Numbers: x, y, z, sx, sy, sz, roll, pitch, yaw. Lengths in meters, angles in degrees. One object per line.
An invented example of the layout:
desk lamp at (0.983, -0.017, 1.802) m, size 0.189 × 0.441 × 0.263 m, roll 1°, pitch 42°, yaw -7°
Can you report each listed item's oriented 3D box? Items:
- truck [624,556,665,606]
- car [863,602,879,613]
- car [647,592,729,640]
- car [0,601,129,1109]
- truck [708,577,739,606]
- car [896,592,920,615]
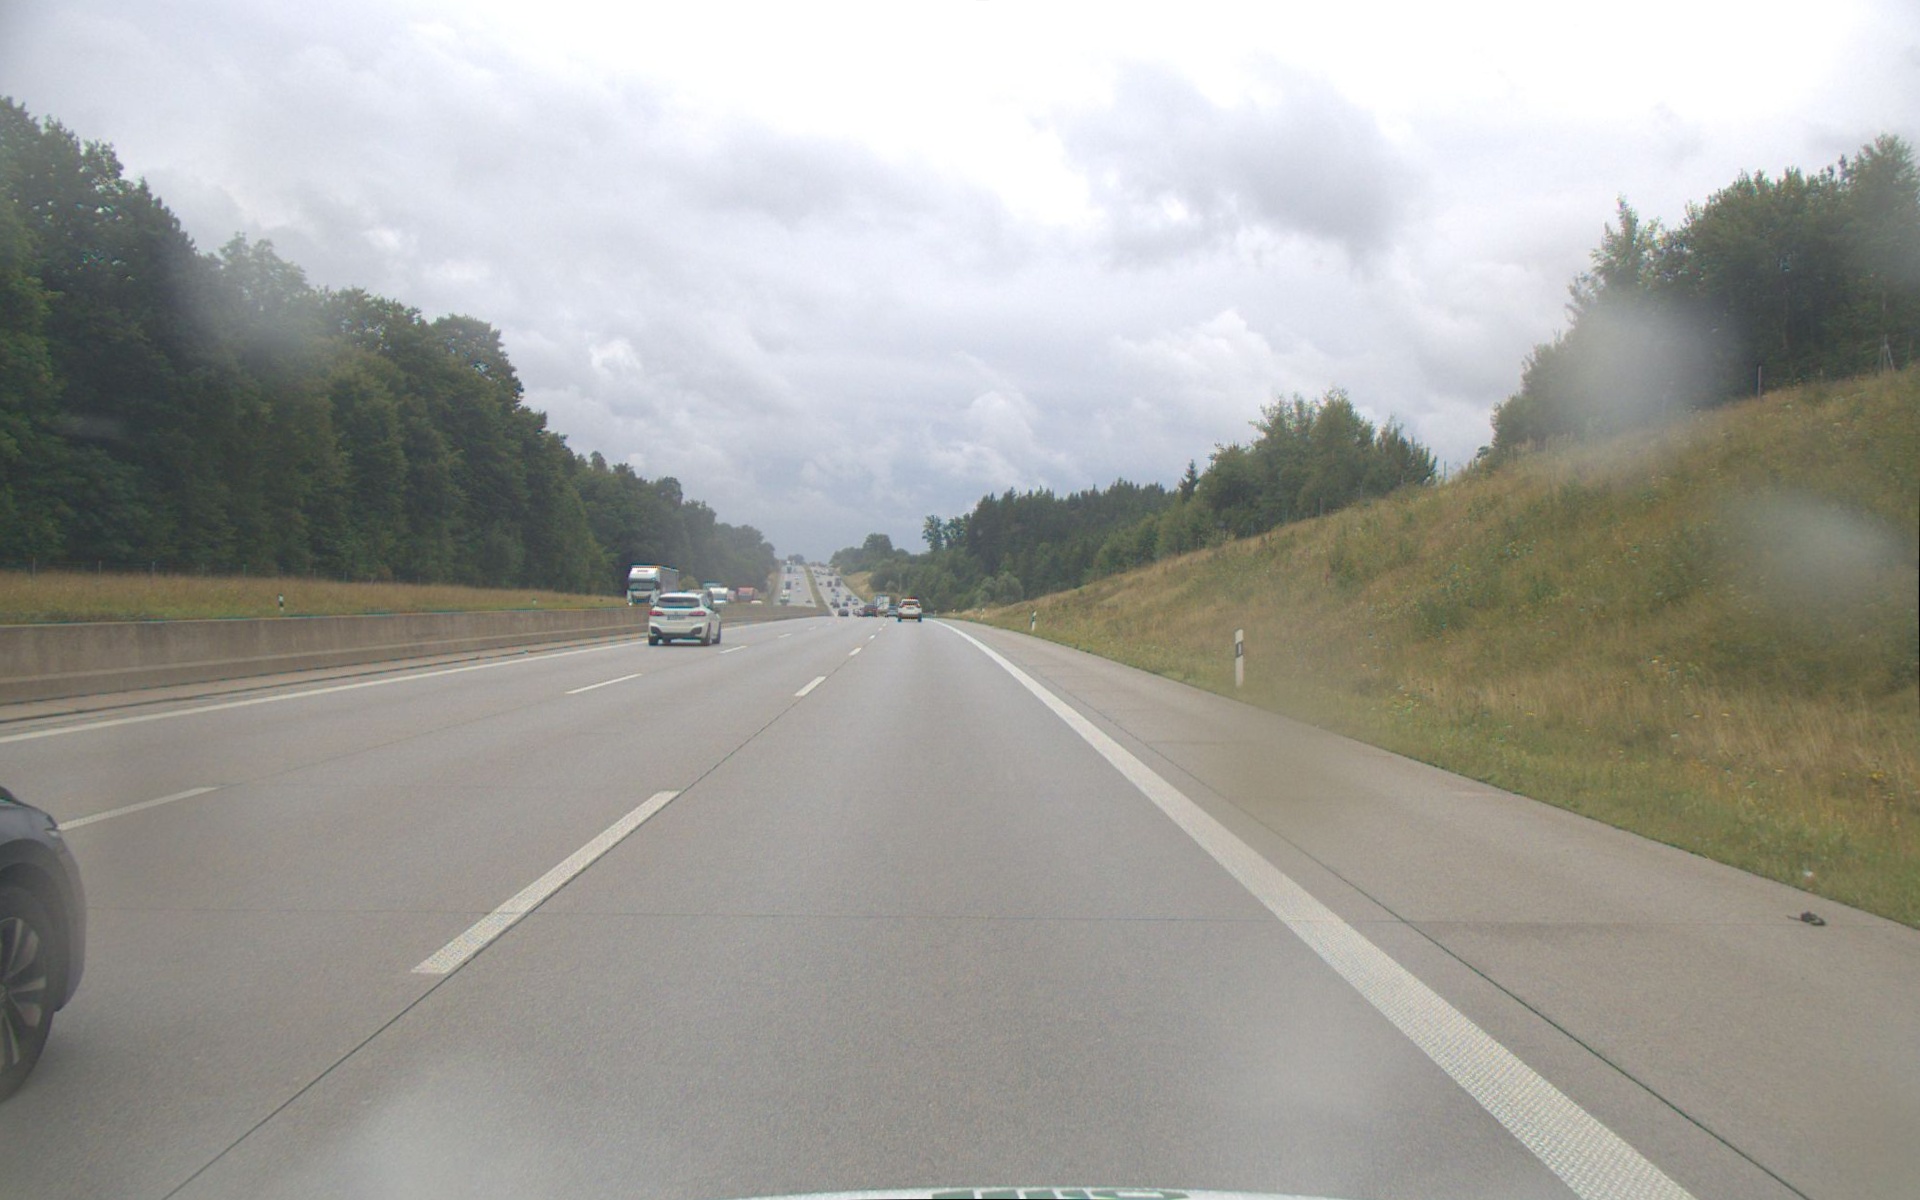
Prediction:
truck at (-27.295, -1.628, 143.374) m, size 2.458 × 4.198 × 6.458 m, roll 1°, pitch 0°, yaw -2°
car at (-12.016, 1.058, 223.234) m, size 1.897 × 1.399 × 4.589 m, roll 1°, pitch 0°, yaw -5°
car at (-8.196, 0.472, 50.180) m, size 1.908 × 1.379 × 4.257 m, roll 1°, pitch 0°, yaw -2°
car at (-3.519, 0.716, 3.093) m, size 1.717 × 1.422 × 4.483 m, roll 1°, pitch 0°, yaw -1°
truck at (-23.735, -0.826, 166.056) m, size 2.221 × 2.837 × 6.511 m, roll 1°, pitch 0°, yaw -1°
car at (-3.933, 0.258, 124.844) m, size 1.789 × 1.684 × 3.983 m, roll 1°, pitch 0°, yaw -2°
